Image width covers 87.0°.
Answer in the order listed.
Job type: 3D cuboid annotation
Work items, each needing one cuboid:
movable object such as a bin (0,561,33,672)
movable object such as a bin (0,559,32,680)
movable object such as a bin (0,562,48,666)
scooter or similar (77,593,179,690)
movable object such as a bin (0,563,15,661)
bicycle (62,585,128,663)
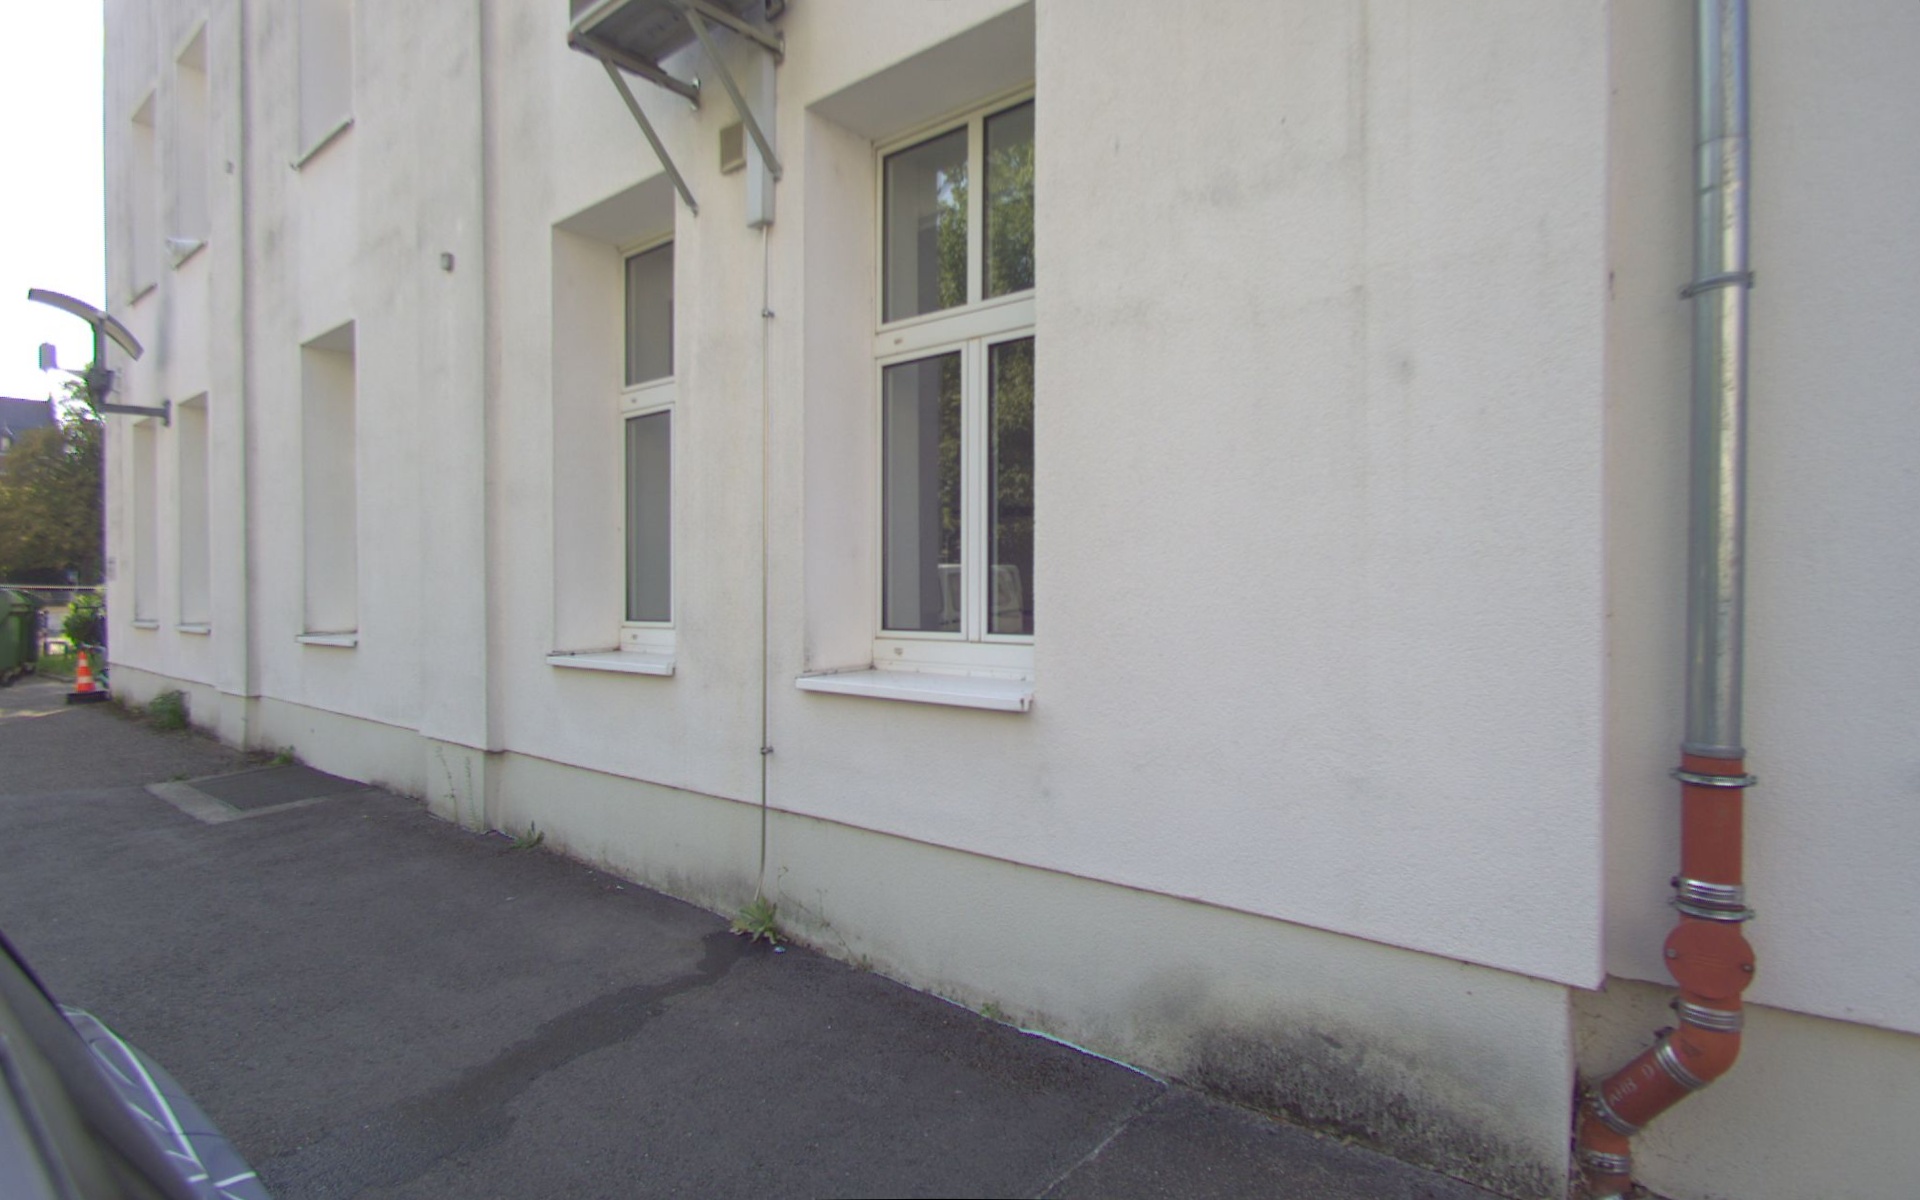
[{"bbox_3d":[-15.469,0.244,15.961,1.395,1.718,1.167,1,2,44],"label":"movable object such as a bin"},{"bbox_3d":[-14.304,0.275,14.549,1.375,1.718,1.170,1,1,36],"label":"movable object such as a bin"},{"bbox_3d":[-16.359,0.219,17.090,1.375,1.718,1.170,1,1,36],"label":"movable object such as a bin"},{"bbox_3d":[-11.354,0.540,13.807,1.485,1.271,0.383,0,1,21],"label":"scooter or similar"},{"bbox_3d":[-17.588,0.205,17.797,1.375,1.718,1.170,1,1,36],"label":"movable object such as a bin"},{"bbox_3d":[-14.390,0.370,16.822,2.006,1.222,0.471,1,2,39],"label":"bicycle"}]
